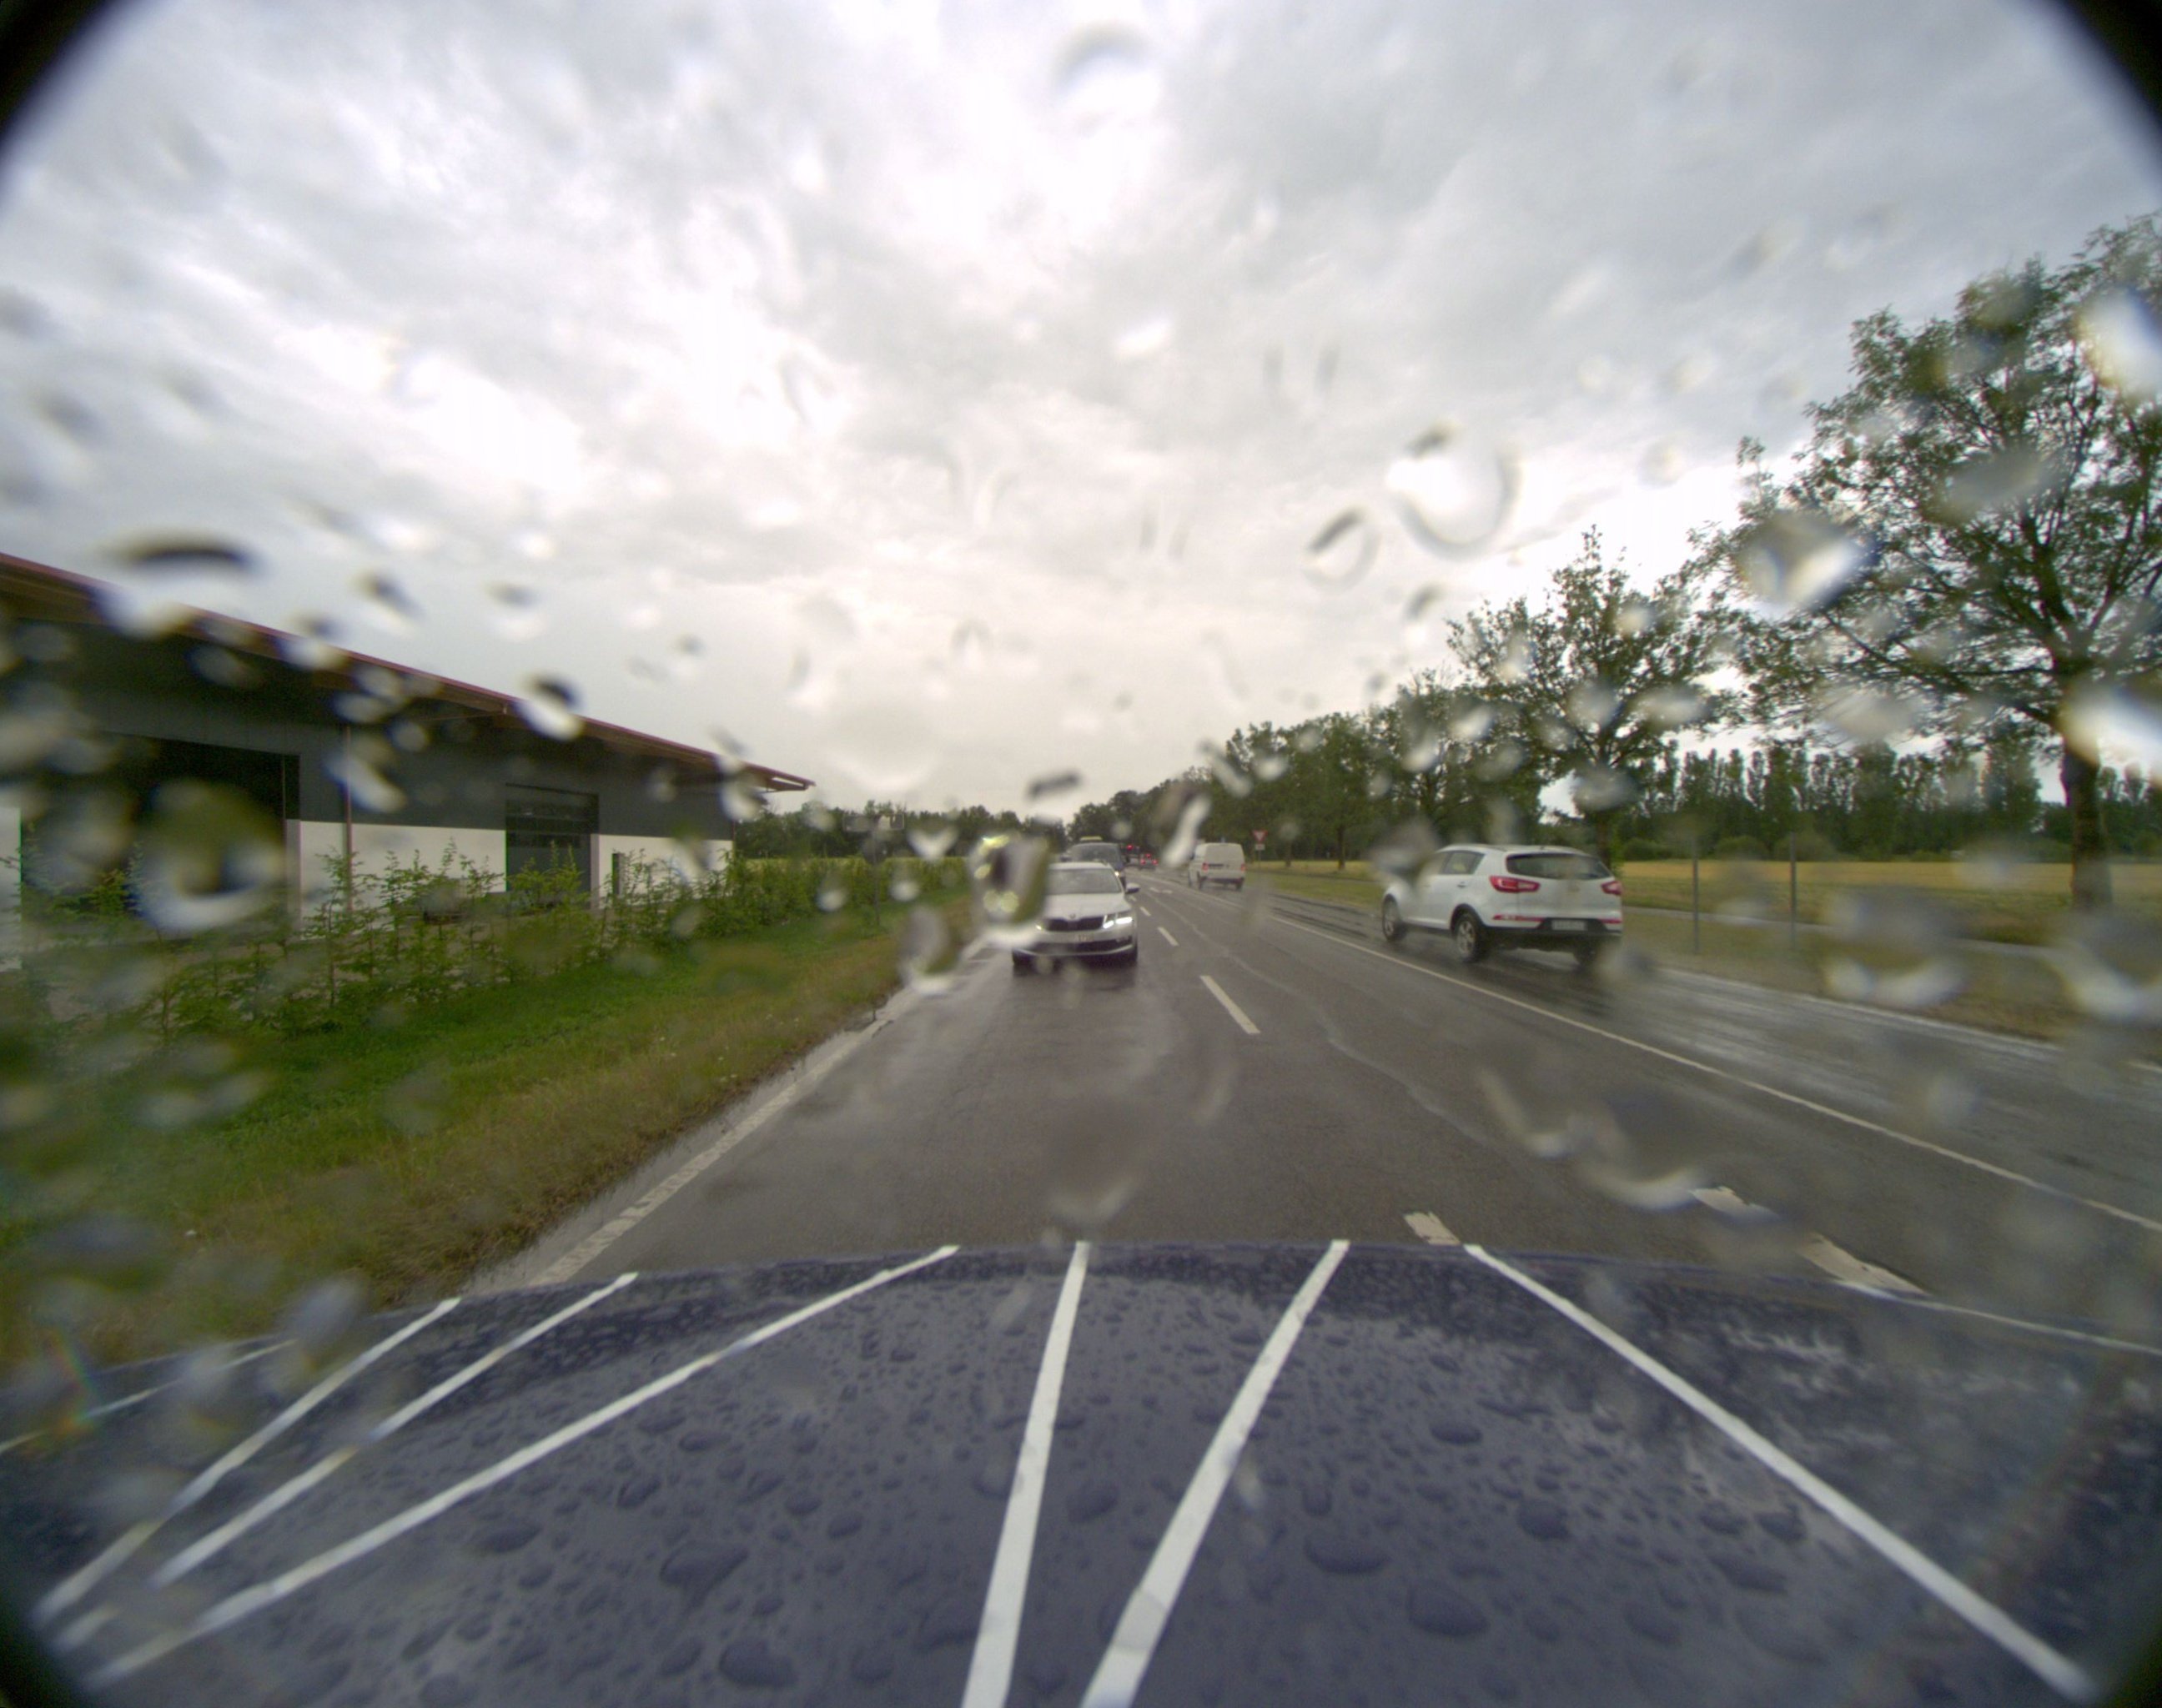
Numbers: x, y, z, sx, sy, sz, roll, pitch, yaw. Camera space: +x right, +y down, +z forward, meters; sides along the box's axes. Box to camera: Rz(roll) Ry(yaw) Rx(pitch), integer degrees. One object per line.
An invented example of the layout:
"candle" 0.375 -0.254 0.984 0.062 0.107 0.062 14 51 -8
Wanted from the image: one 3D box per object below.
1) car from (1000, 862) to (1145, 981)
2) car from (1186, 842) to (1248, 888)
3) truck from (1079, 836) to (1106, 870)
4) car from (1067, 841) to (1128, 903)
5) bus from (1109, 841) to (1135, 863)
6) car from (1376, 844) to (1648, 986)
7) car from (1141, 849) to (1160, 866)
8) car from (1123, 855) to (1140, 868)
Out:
"car" -0.075 0.905 12.181 1.843 1.379 4.569 -2 1 1
"car" 5.999 0.428 34.051 1.921 1.851 4.684 1 1 1
"truck" 1.367 -0.162 91.236 2.931 3.828 14.119 0 0 1
"car" 0.547 0.535 25.815 1.892 1.939 4.000 0 1 1
"bus" 5.631 -0.367 106.759 2.958 2.895 12.473 0 1 0
"car" 5.976 0.720 11.197 1.708 1.661 4.156 1 1 2
"car" 6.569 0.292 72.074 1.504 1.521 3.301 1 1 2
"car" 5.895 0.851 88.865 1.672 1.442 3.461 1 0 1
